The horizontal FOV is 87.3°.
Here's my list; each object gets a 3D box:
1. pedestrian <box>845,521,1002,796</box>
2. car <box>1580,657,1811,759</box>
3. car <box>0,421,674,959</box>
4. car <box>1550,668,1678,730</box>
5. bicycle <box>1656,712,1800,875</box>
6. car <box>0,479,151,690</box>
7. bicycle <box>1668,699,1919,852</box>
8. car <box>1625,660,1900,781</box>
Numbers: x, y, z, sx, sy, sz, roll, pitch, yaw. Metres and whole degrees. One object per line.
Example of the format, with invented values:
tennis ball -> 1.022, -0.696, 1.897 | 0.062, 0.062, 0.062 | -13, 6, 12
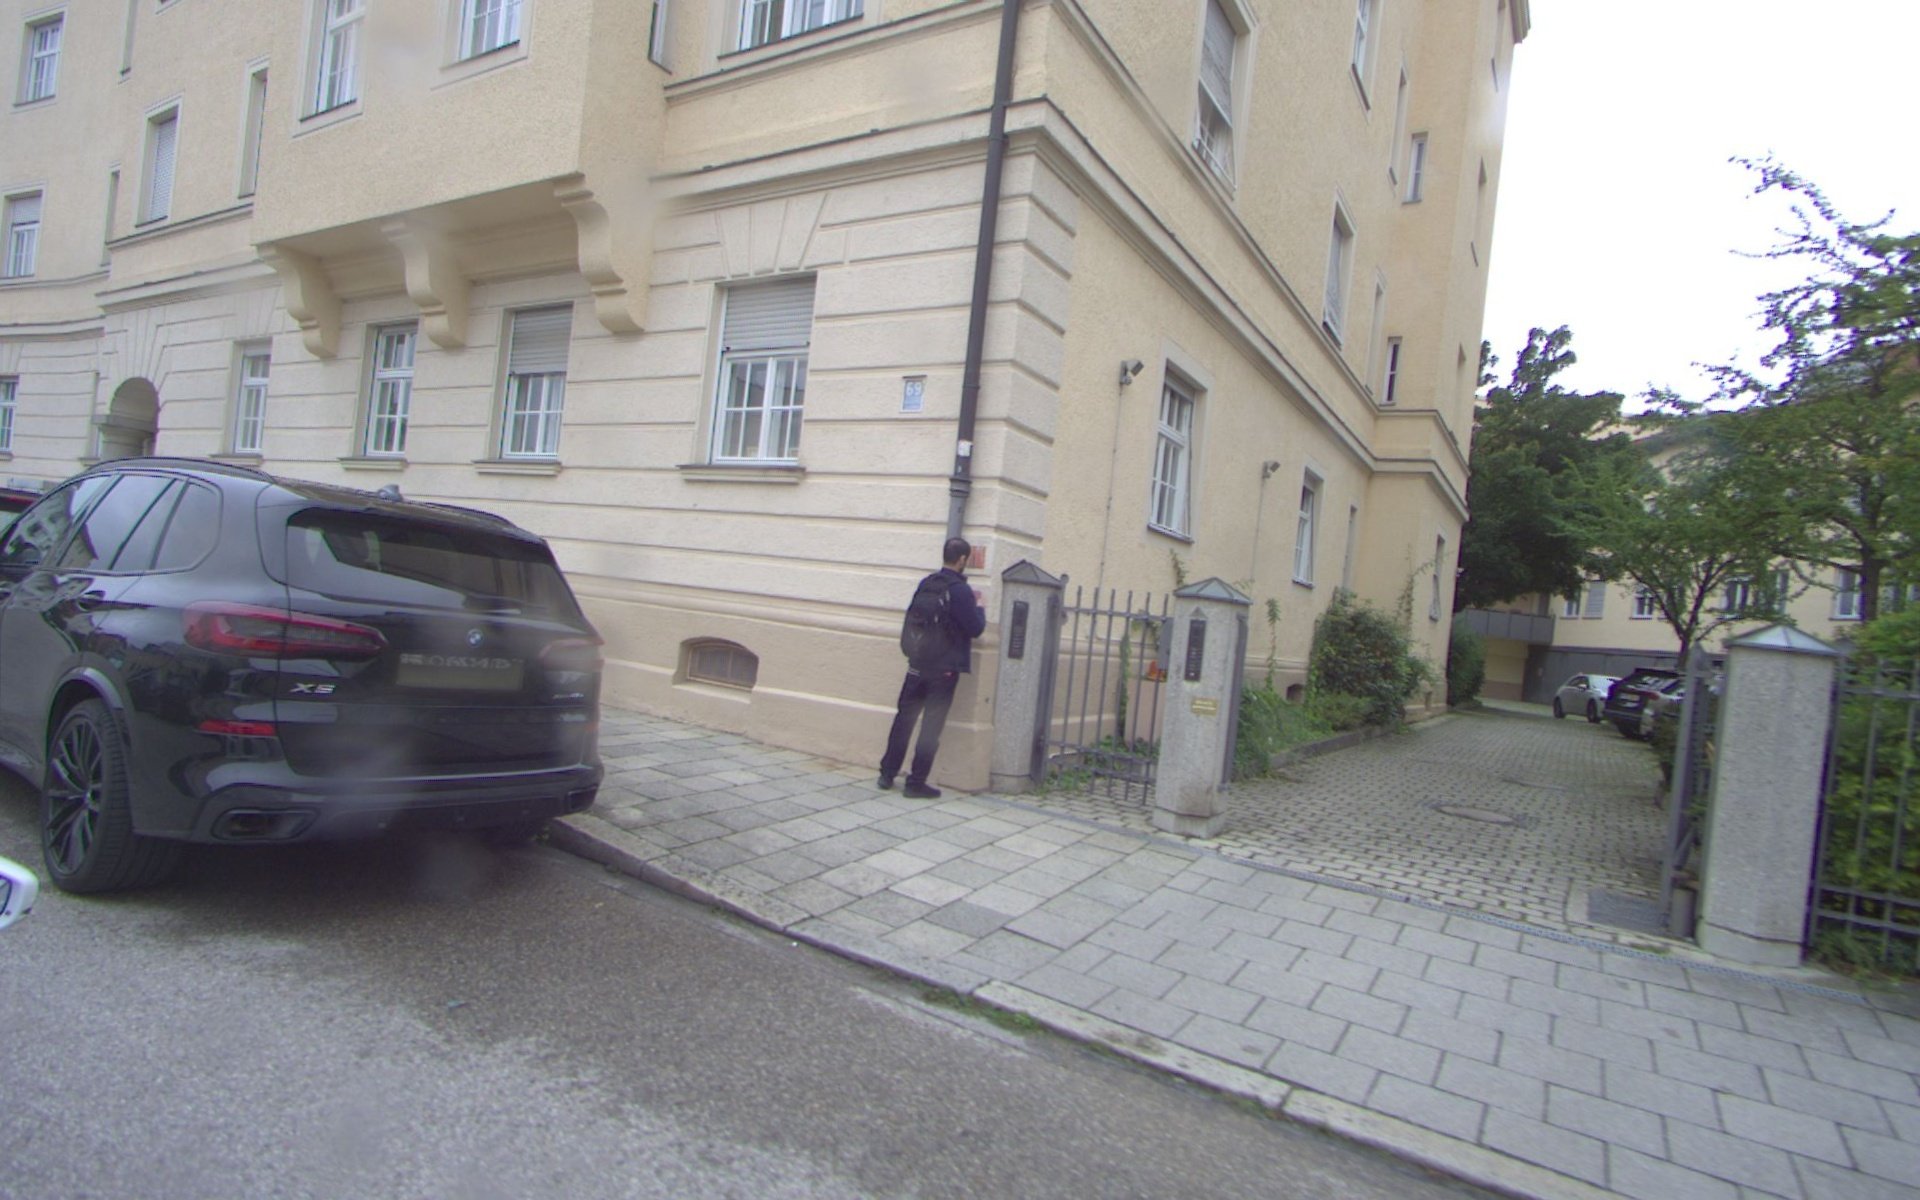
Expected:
pedestrian -> -0.267, 0.406, 7.042 | 0.677, 1.781, 0.689 | 7, -1, -26
car -> 15.266, 2.224, 20.983 | 3.620, 1.562, 1.675 | 7, -2, -6
car -> -3.951, 0.157, 5.376 | 4.610, 1.750, 1.931 | 8, -1, 33
car -> 19.097, 2.856, 29.577 | 1.748, 1.480, 3.859 | 7, -2, 12
bicycle -> 6.255, 1.529, 8.270 | 0.422, 1.057, 1.548 | 6, 1, 21
car -> -8.397, -0.227, 8.541 | 2.817, 1.575, 1.509 | 6, -2, 35
bicycle -> 8.195, 1.673, 9.884 | 1.907, 1.152, 0.356 | 5, -2, 42
car -> 14.405, 2.144, 18.169 | 3.620, 1.563, 1.673 | 7, 0, -6
